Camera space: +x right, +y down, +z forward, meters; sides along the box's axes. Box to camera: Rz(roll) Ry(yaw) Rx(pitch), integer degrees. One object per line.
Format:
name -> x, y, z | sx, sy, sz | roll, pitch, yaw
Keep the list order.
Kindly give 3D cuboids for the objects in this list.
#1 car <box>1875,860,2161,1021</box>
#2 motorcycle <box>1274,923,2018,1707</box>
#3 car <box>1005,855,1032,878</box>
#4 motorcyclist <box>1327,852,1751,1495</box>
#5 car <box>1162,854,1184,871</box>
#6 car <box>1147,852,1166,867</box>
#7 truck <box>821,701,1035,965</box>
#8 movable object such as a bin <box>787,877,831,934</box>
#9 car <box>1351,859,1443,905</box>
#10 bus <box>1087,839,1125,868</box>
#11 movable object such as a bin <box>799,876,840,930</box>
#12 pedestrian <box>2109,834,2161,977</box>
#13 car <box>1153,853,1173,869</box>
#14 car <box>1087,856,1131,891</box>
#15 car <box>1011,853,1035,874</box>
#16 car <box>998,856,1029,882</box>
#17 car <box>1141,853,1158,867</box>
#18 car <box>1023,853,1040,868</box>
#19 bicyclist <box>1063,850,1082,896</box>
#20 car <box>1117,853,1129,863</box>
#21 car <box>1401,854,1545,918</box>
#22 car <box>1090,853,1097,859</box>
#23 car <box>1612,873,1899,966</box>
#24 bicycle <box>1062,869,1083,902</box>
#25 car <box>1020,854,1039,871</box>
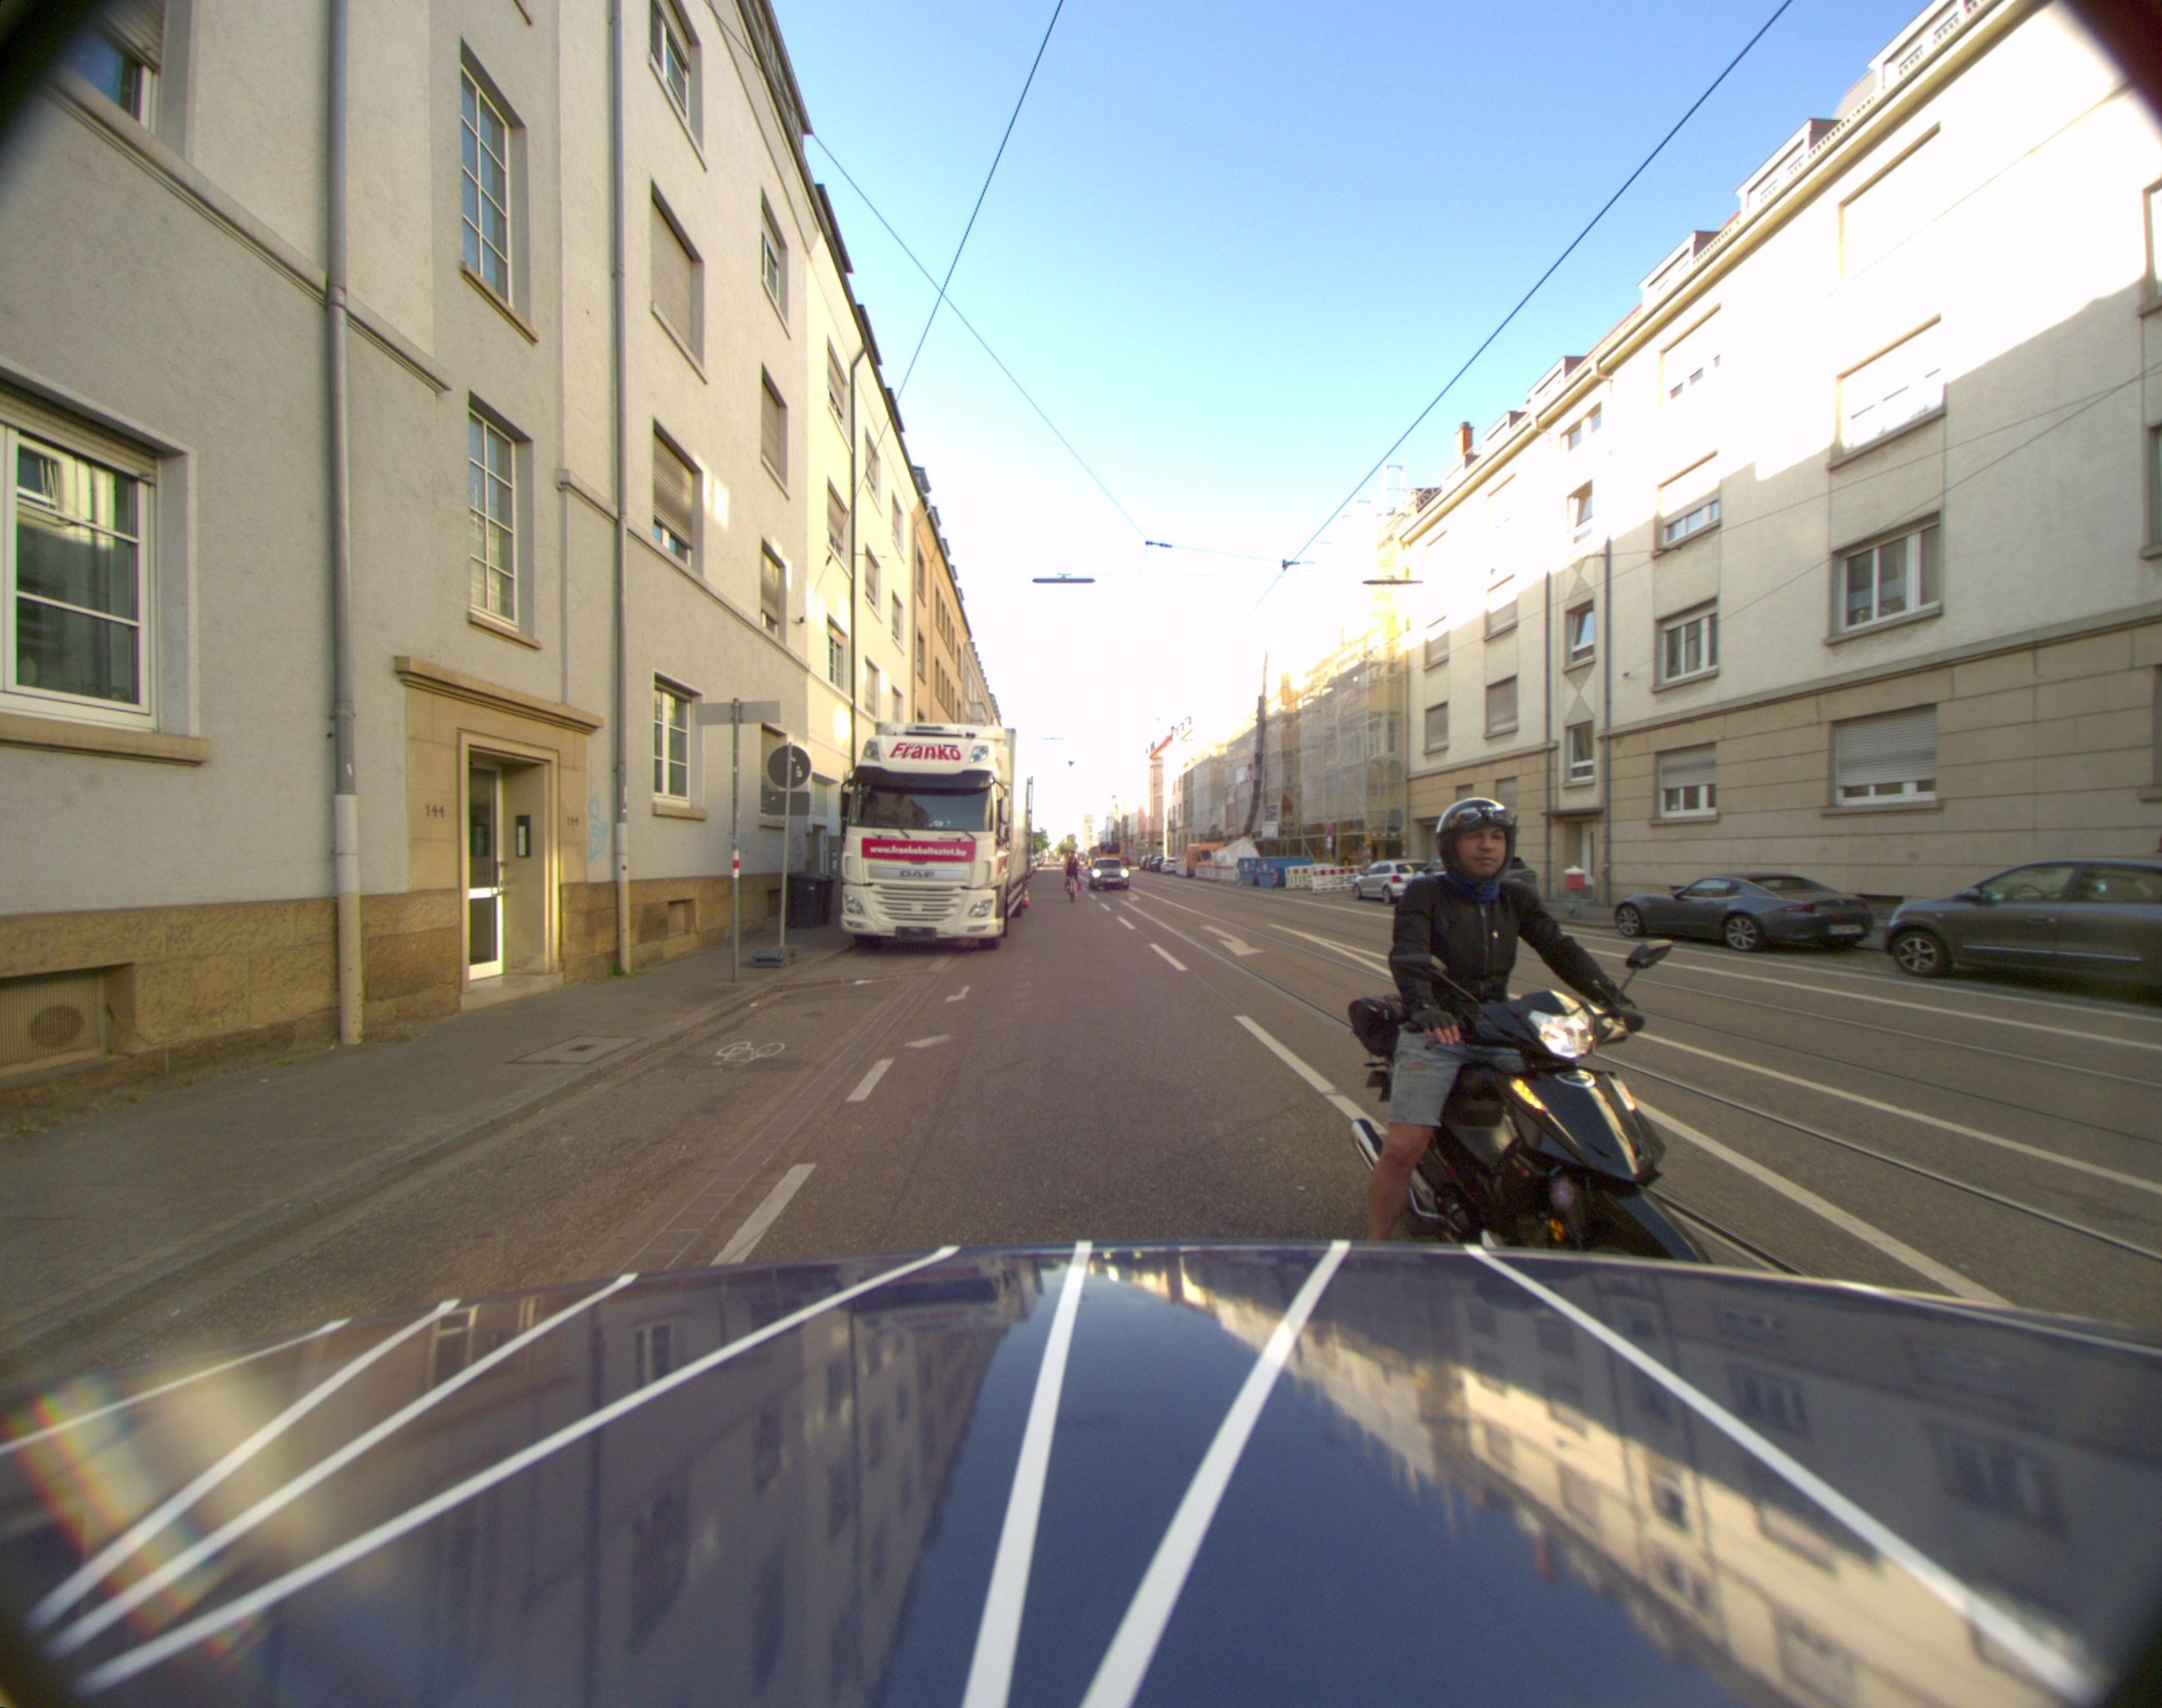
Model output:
car -> 11.419, 0.862, 8.317 | 1.679, 1.519, 3.539 | -1, 0, -3
motorcycle -> 1.311, 0.975, 2.517 | 0.791, 1.284, 2.273 | 0, 0, 1
car -> -4.300, 0.832, 52.987 | 1.685, 1.522, 4.148 | -2, 0, -3
motorcyclist -> 1.311, 0.818, 2.388 | 0.791, 1.645, 0.900 | 0, 1, 1
car -> 8.575, 0.765, 71.110 | 1.684, 1.478, 3.966 | -2, 0, 1
car -> 8.248, 0.622, 83.181 | 1.684, 1.573, 3.966 | -2, 0, 1
truck -> -2.623, -0.319, 17.178 | 2.782, 3.903, 11.816 | 0, 0, -2
movable object such as a bin -> -5.381, 1.009, 15.038 | 0.666, 1.087, 0.570 | 0, 1, -2
car -> 10.612, 0.884, 25.777 | 1.543, 1.404, 3.510 | -1, 0, -3
bus -> 2.736, -0.061, 90.389 | 2.755, 3.095, 19.156 | 0, 0, -3
movable object such as a bin -> -5.397, 1.000, 15.707 | 0.666, 1.087, 0.570 | 0, 1, -2
pedestrian -> 13.124, 0.612, 9.106 | 0.605, 1.699, 0.730 | 0, 1, -2
car -> 8.270, 0.710, 76.807 | 1.684, 1.478, 3.966 | -2, 0, 1
car -> 1.263, 0.853, 35.441 | 1.685, 1.454, 4.148 | -2, 0, -3
car -> -4.508, 0.750, 59.156 | 1.685, 1.522, 4.148 | -2, 0, -3
car -> -4.173, 0.900, 47.185 | 1.685, 1.522, 4.148 | -2, 0, -3
car -> 7.937, 0.659, 87.877 | 1.684, 1.478, 3.966 | -2, 0, 1
car -> -5.347, 0.653, 82.742 | 1.685, 1.522, 4.148 | -2, 0, -3
bicyclist -> -0.306, 0.666, 26.824 | 0.618, 1.620, 0.759 | 0, 1, -5
car -> 6.602, 0.630, 118.633 | 1.684, 1.478, 3.966 | -2, 0, 1
car -> 10.813, 0.808, 21.328 | 1.696, 1.590, 4.206 | -1, 0, -3
car -> 3.315, 0.599, 206.887 | 1.684, 1.478, 3.965 | -2, 0, -1
car -> 11.182, 1.003, 12.979 | 1.520, 1.227, 3.685 | -1, 0, -3
bicycle -> -0.308, 1.100, 26.812 | 0.618, 1.097, 1.885 | 0, 0, -5
car -> -4.853, 0.753, 72.096 | 1.685, 1.522, 4.148 | -2, 0, -3
